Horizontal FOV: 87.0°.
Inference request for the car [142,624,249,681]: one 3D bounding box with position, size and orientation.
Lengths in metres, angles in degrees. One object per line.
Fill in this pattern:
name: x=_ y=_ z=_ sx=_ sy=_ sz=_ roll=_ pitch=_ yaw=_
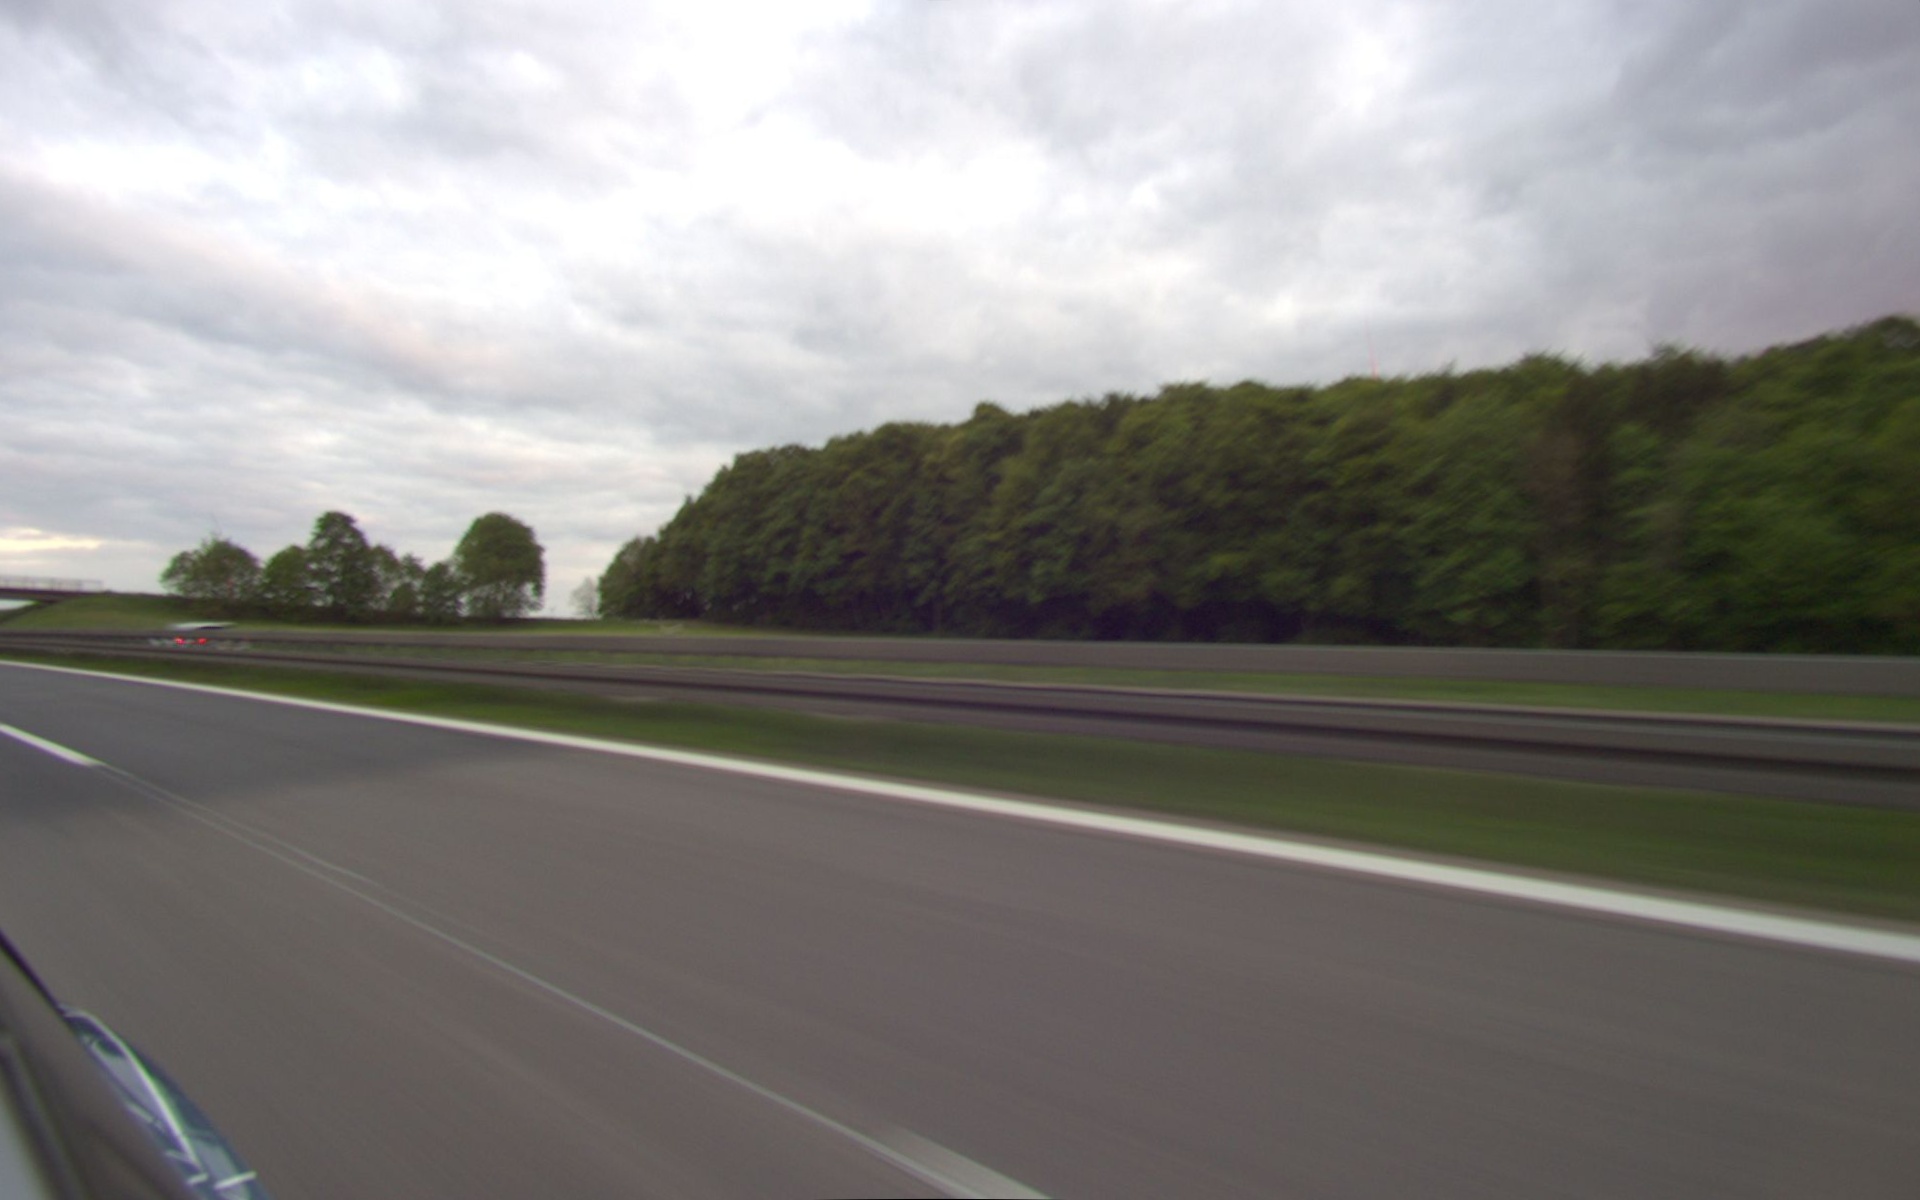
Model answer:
car: x=-29.593 y=1.970 z=39.115 sx=5.162 sy=2.029 sz=1.974 roll=-1 pitch=-2 yaw=38
